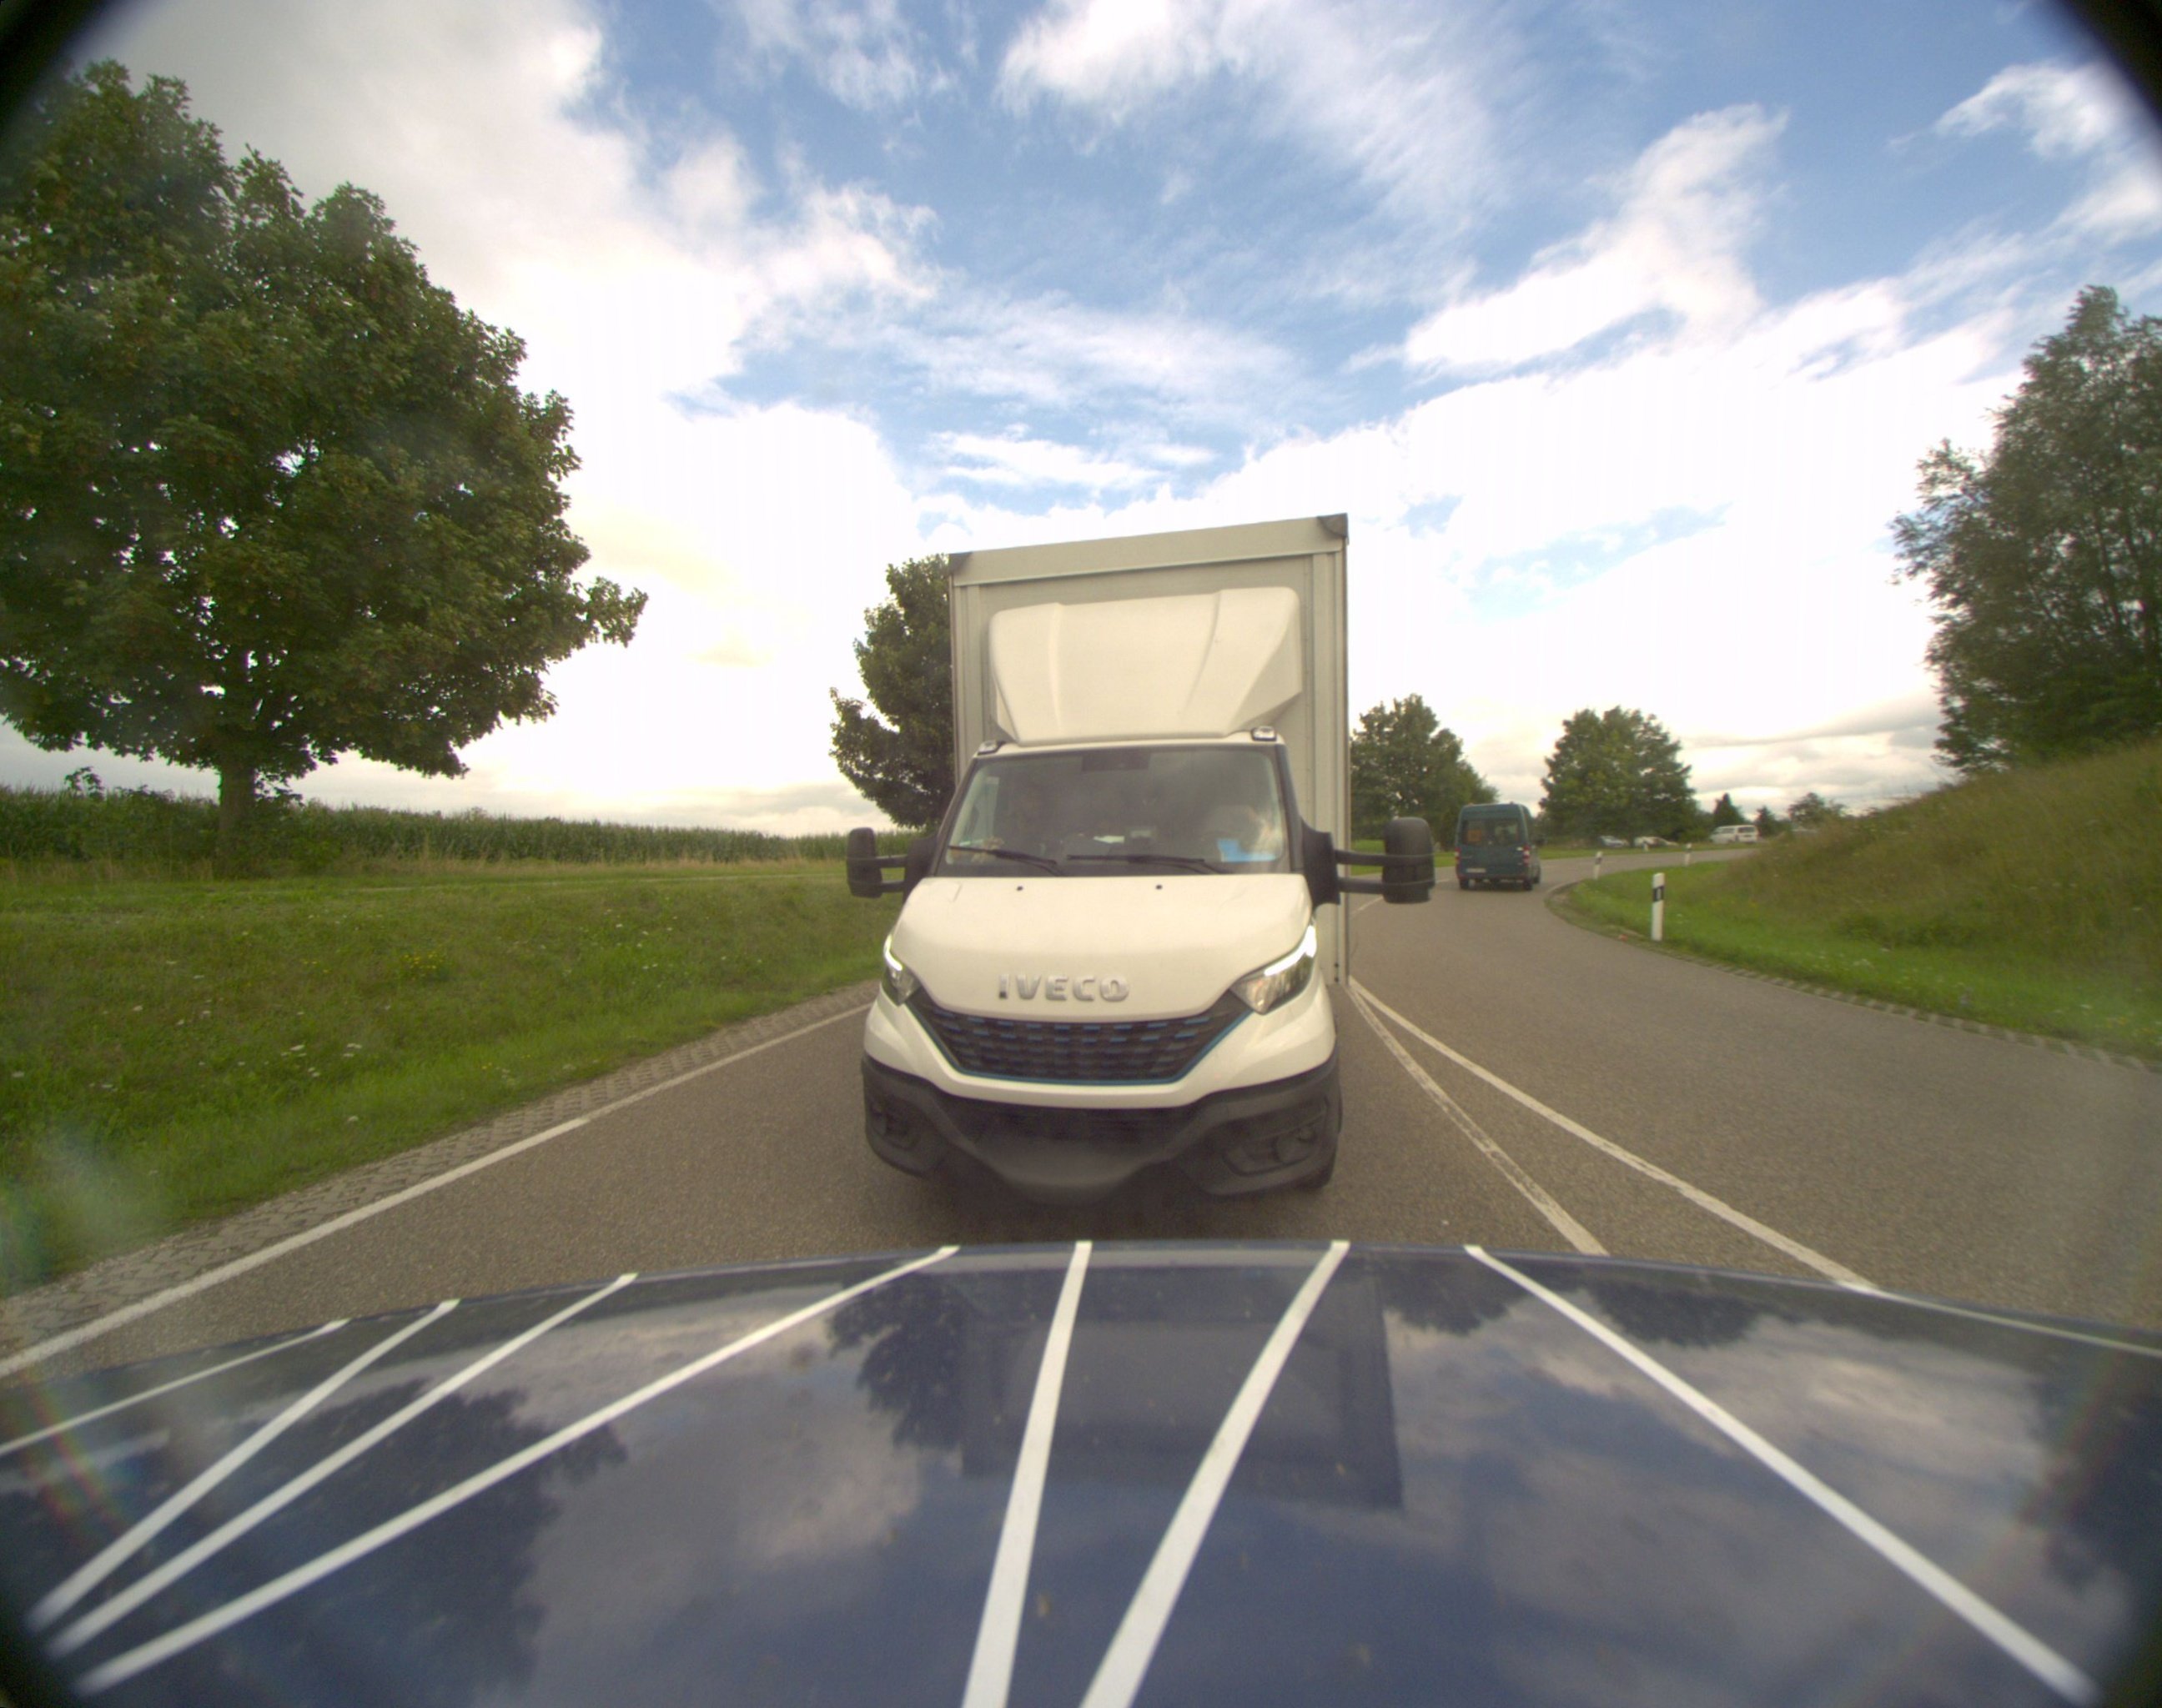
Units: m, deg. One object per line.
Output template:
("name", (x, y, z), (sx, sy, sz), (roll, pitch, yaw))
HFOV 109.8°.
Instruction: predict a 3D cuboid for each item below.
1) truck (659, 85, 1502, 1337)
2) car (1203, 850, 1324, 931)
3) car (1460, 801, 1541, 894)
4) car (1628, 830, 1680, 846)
("truck", (0.719, -0.400, 6.863), (2.834, 3.741, 8.807), (-1, 0, 11))
("car", (3.973, 0.687, 16.048), (1.747, 1.457, 4.006), (-2, 0, 24))
("car", (13.345, -0.231, 24.006), (1.994, 2.615, 5.131), (0, 1, 31))
("car", (64.626, -1.828, 85.774), (4.393, 1.576, 2.003), (-2, 0, 26))
